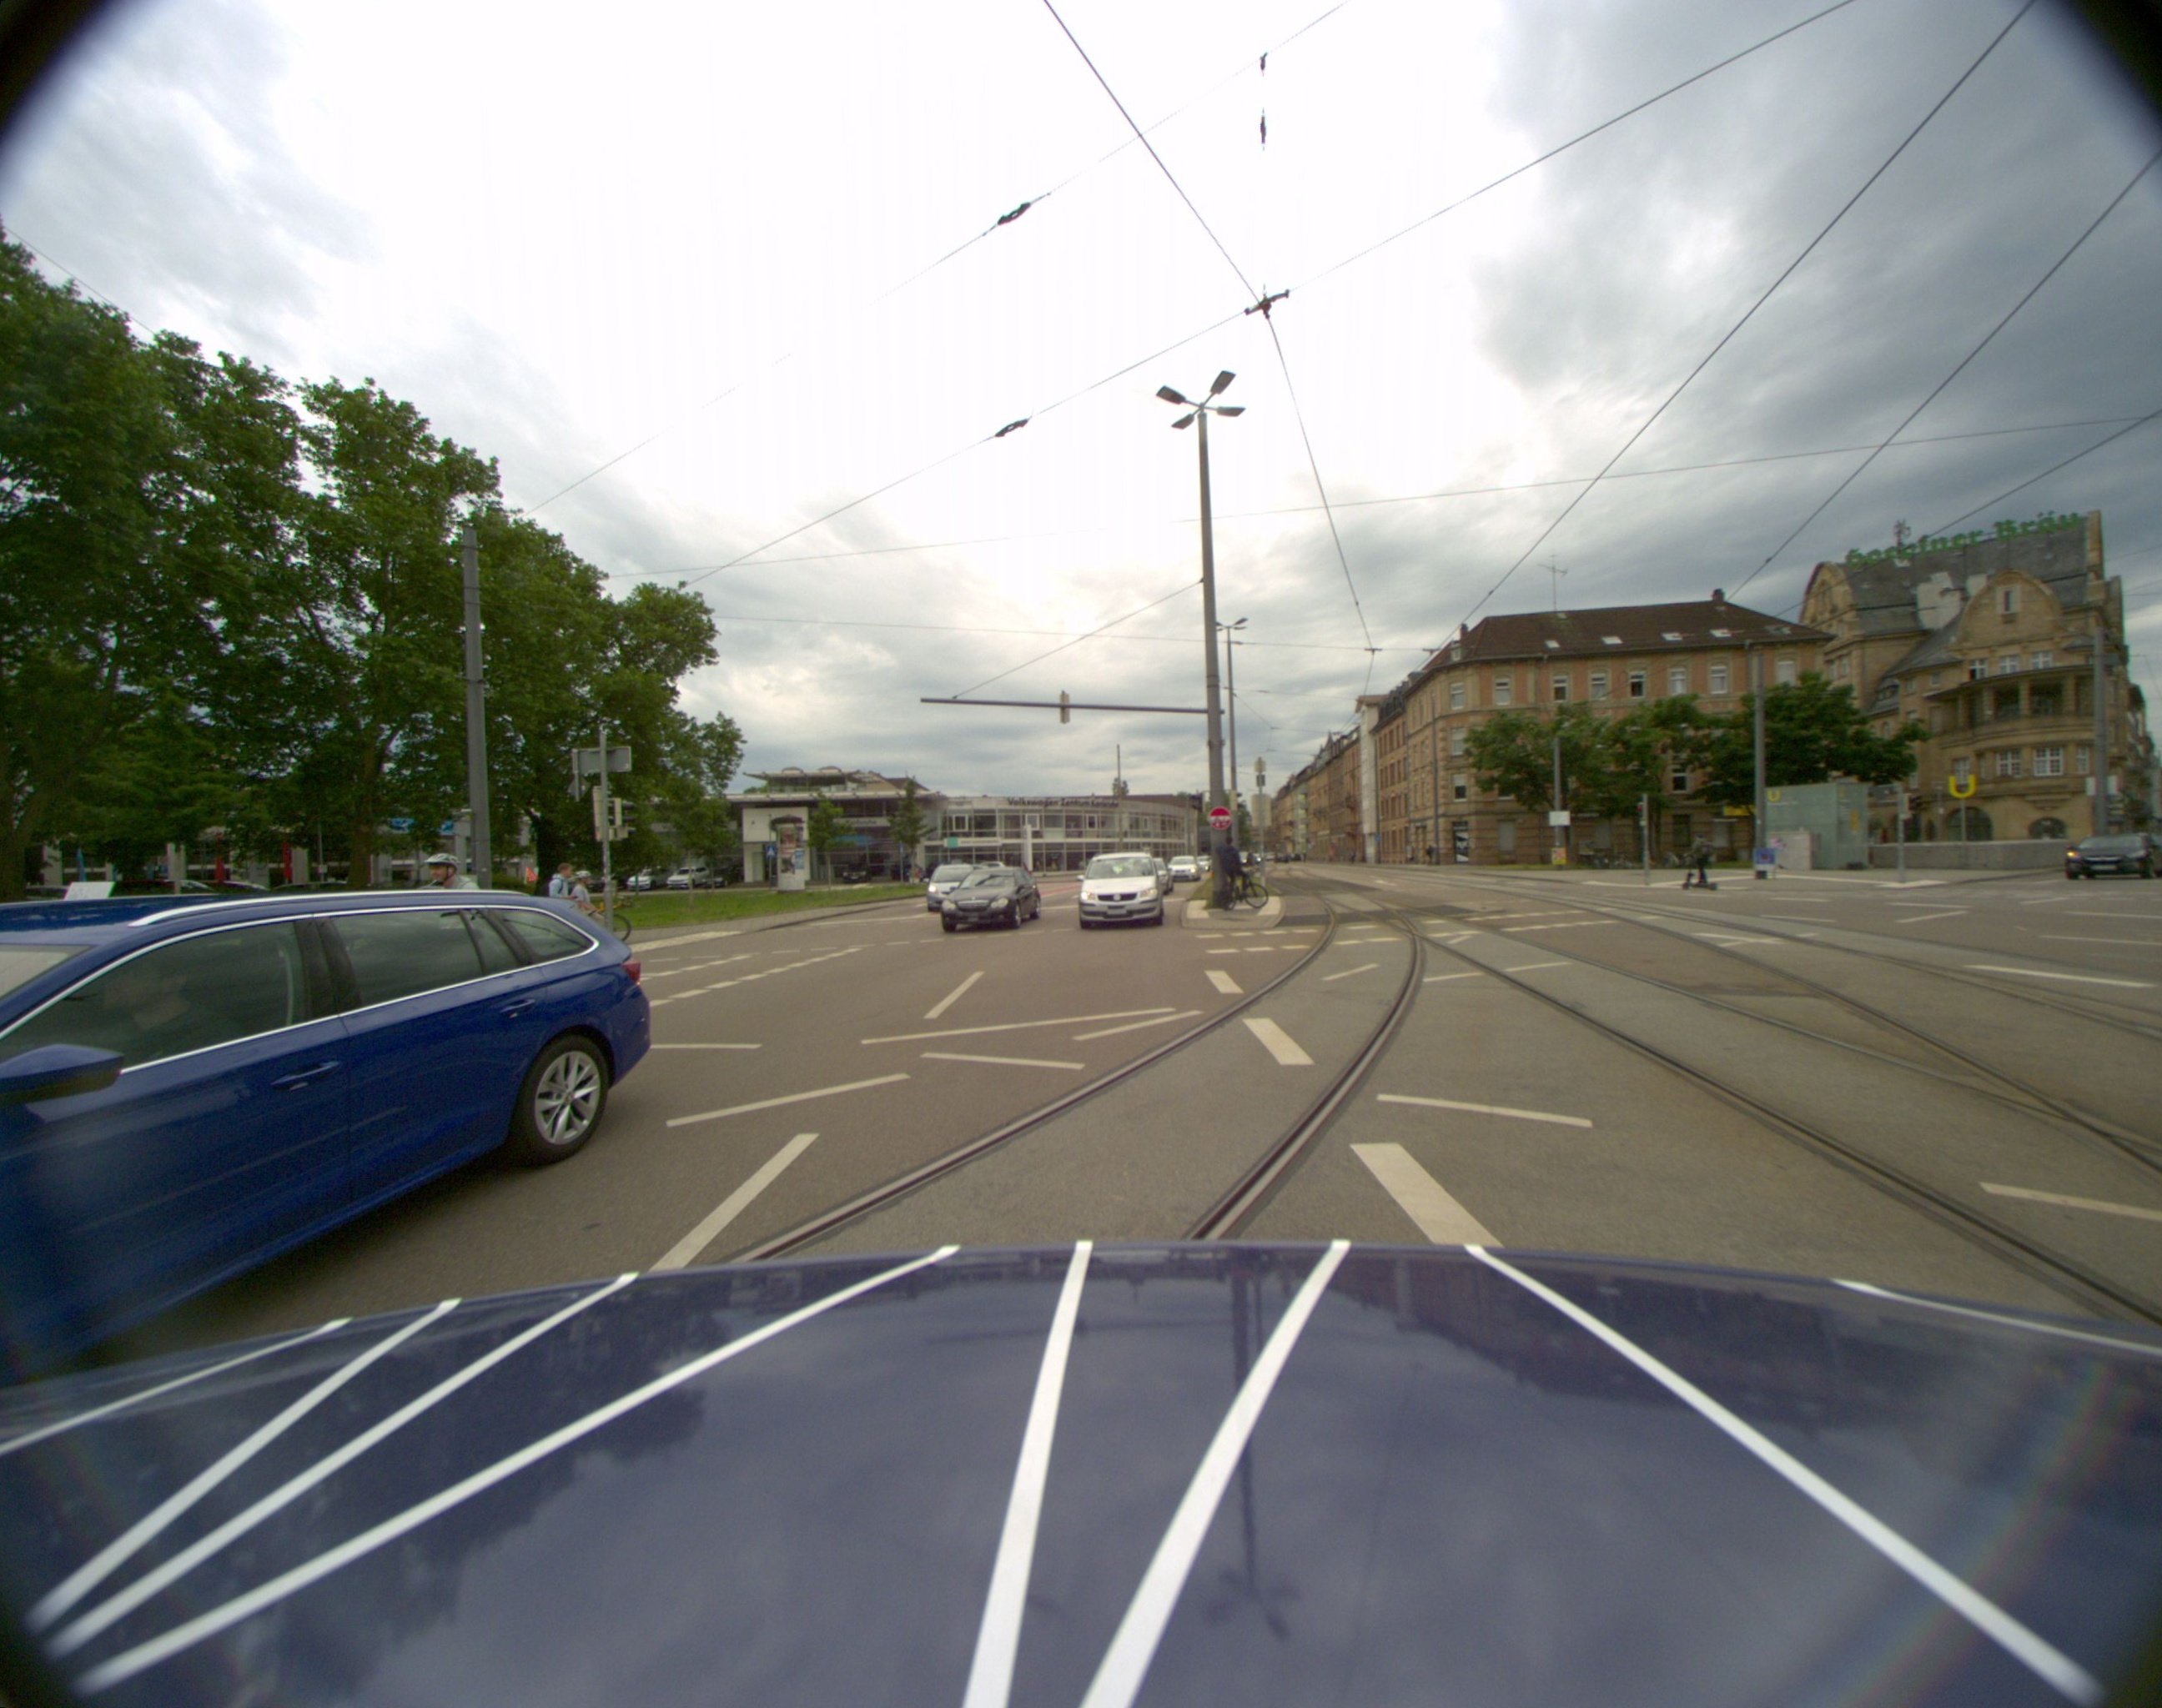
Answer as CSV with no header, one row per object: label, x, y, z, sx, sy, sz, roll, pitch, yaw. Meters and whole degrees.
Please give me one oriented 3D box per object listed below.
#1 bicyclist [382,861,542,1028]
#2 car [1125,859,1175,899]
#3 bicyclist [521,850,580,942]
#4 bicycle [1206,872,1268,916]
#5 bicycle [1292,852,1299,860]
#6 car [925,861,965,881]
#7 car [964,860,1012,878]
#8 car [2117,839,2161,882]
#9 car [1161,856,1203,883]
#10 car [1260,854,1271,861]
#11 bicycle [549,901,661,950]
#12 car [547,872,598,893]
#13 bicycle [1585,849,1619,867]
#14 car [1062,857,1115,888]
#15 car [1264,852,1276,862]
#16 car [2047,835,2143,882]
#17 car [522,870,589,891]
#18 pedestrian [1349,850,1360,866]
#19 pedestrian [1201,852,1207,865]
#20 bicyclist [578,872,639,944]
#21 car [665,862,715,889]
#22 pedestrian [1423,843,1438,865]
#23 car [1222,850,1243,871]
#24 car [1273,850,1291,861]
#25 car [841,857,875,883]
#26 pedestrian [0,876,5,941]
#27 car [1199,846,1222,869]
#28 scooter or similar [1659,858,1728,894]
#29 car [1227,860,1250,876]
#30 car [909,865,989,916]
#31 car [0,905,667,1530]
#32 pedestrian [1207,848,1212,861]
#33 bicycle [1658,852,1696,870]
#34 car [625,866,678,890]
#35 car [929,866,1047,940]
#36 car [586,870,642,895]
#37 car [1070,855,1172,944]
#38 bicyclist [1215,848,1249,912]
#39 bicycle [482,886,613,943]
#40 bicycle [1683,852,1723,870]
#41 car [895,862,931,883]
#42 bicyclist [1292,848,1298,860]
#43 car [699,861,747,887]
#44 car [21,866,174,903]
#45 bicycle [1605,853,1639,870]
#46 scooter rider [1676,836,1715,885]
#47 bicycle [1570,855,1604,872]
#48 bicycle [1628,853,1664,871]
bicyclist,-6.425,0.905,7.943,0.790,1.608,0.934,-3,0,8
car,2.750,0.914,29.590,1.809,1.398,3.985,-1,0,7
bicyclist,-10.468,0.812,15.019,0.735,1.741,0.585,-3,2,-17
bicycle,4.100,1.026,19.908,1.617,1.064,0.527,-1,0,-29
bicycle,34.081,0.297,120.756,0.798,1.285,2.413,-1,0,10
car,-11.557,1.457,64.232,1.794,1.551,4.024,-2,0,-34
car,-8.072,1.292,65.983,3.904,1.432,1.733,-2,0,0
car,46.198,0.231,32.530,4.933,1.704,2.157,-1,0,-36
car,5.850,0.841,43.605,1.970,1.447,4.197,-2,0,12
car,38.094,0.718,156.705,1.813,1.423,4.020,-2,0,8
bicycle,-10.383,1.557,16.629,1.946,0.992,0.601,2,0,-10
car,-42.001,2.327,62.764,3.121,1.505,1.439,-2,4,-2
bicycle,31.944,0.237,46.640,0.753,1.024,2.398,-2,0,10
car,0.468,0.953,40.574,1.980,1.550,4.149,-1,0,12
car,35.335,0.538,142.075,1.834,1.635,4.233,-2,0,8
car,37.178,0.142,27.875,4.252,1.601,1.995,-2,0,-36
car,-42.021,2.118,60.778,4.147,1.504,1.655,-1,0,-2
pedestrian,31.670,0.452,88.019,0.921,1.821,0.719,-1,0,-25
pedestrian,15.265,0.557,94.417,0.662,1.671,0.651,-1,1,9
bicyclist,-10.341,1.173,16.665,0.886,1.512,0.671,3,-1,-10
car,-32.031,1.738,62.421,1.956,1.589,4.224,-1,6,-2
pedestrian,27.669,0.016,60.207,0.811,1.666,0.799,-2,0,7
car,15.764,0.660,78.996,1.997,2.002,4.003,-2,0,11
car,28.888,0.222,109.345,1.887,1.461,4.467,-2,0,8
car,-18.338,1.273,62.773,1.957,1.634,4.668,-2,4,-7
pedestrian,-30.173,1.509,20.525,0.867,1.808,0.897,-1,0,-14
car,12.236,0.329,71.669,1.997,2.002,4.003,-2,0,11
scooter or similar,20.769,0.723,25.823,0.574,1.158,1.905,-2,0,-10
car,17.742,1.556,85.495,2.370,1.744,5.135,-2,0,13
car,-4.343,1.162,25.591,1.708,1.474,3.935,-3,0,4
car,-3.657,1.052,2.453,1.769,1.427,4.758,-2,0,4
pedestrian,18.277,0.099,107.963,0.651,1.904,0.603,-2,0,10
bicycle,35.788,0.405,45.662,0.753,1.024,2.398,-2,0,10
car,-35.020,1.938,62.126,1.956,1.459,4.225,-1,5,-2
car,-2.089,1.088,18.375,1.769,1.362,4.424,-3,0,6
car,-37.891,2.289,61.810,1.956,1.505,4.225,-1,6,-2
car,0.924,0.876,16.955,1.863,1.609,5.063,-2,0,4
bicyclist,3.938,0.668,19.821,0.656,1.629,0.516,-2,1,-29
bicycle,-10.492,1.180,15.010,1.994,0.993,0.578,-1,3,-17
bicycle,37.245,0.433,45.542,0.753,1.024,2.398,-2,0,10
car,-13.951,1.510,62.985,1.960,1.516,4.220,-2,1,-26
bicyclist,34.035,0.013,120.635,0.823,1.855,0.924,-1,0,10
car,-29.332,1.613,62.418,1.956,1.449,4.223,-1,7,-2
car,-47.073,1.431,36.501,4.006,1.604,1.996,-1,-1,-30
bicycle,33.075,0.433,46.505,0.753,1.024,2.398,-2,0,10
scooter rider,20.780,0.211,25.702,0.569,1.618,0.821,-2,0,-9
bicycle,31.151,0.586,46.787,0.836,1.024,2.398,-2,0,10
bicycle,34.211,0.470,46.064,0.753,1.024,2.398,-2,0,10
